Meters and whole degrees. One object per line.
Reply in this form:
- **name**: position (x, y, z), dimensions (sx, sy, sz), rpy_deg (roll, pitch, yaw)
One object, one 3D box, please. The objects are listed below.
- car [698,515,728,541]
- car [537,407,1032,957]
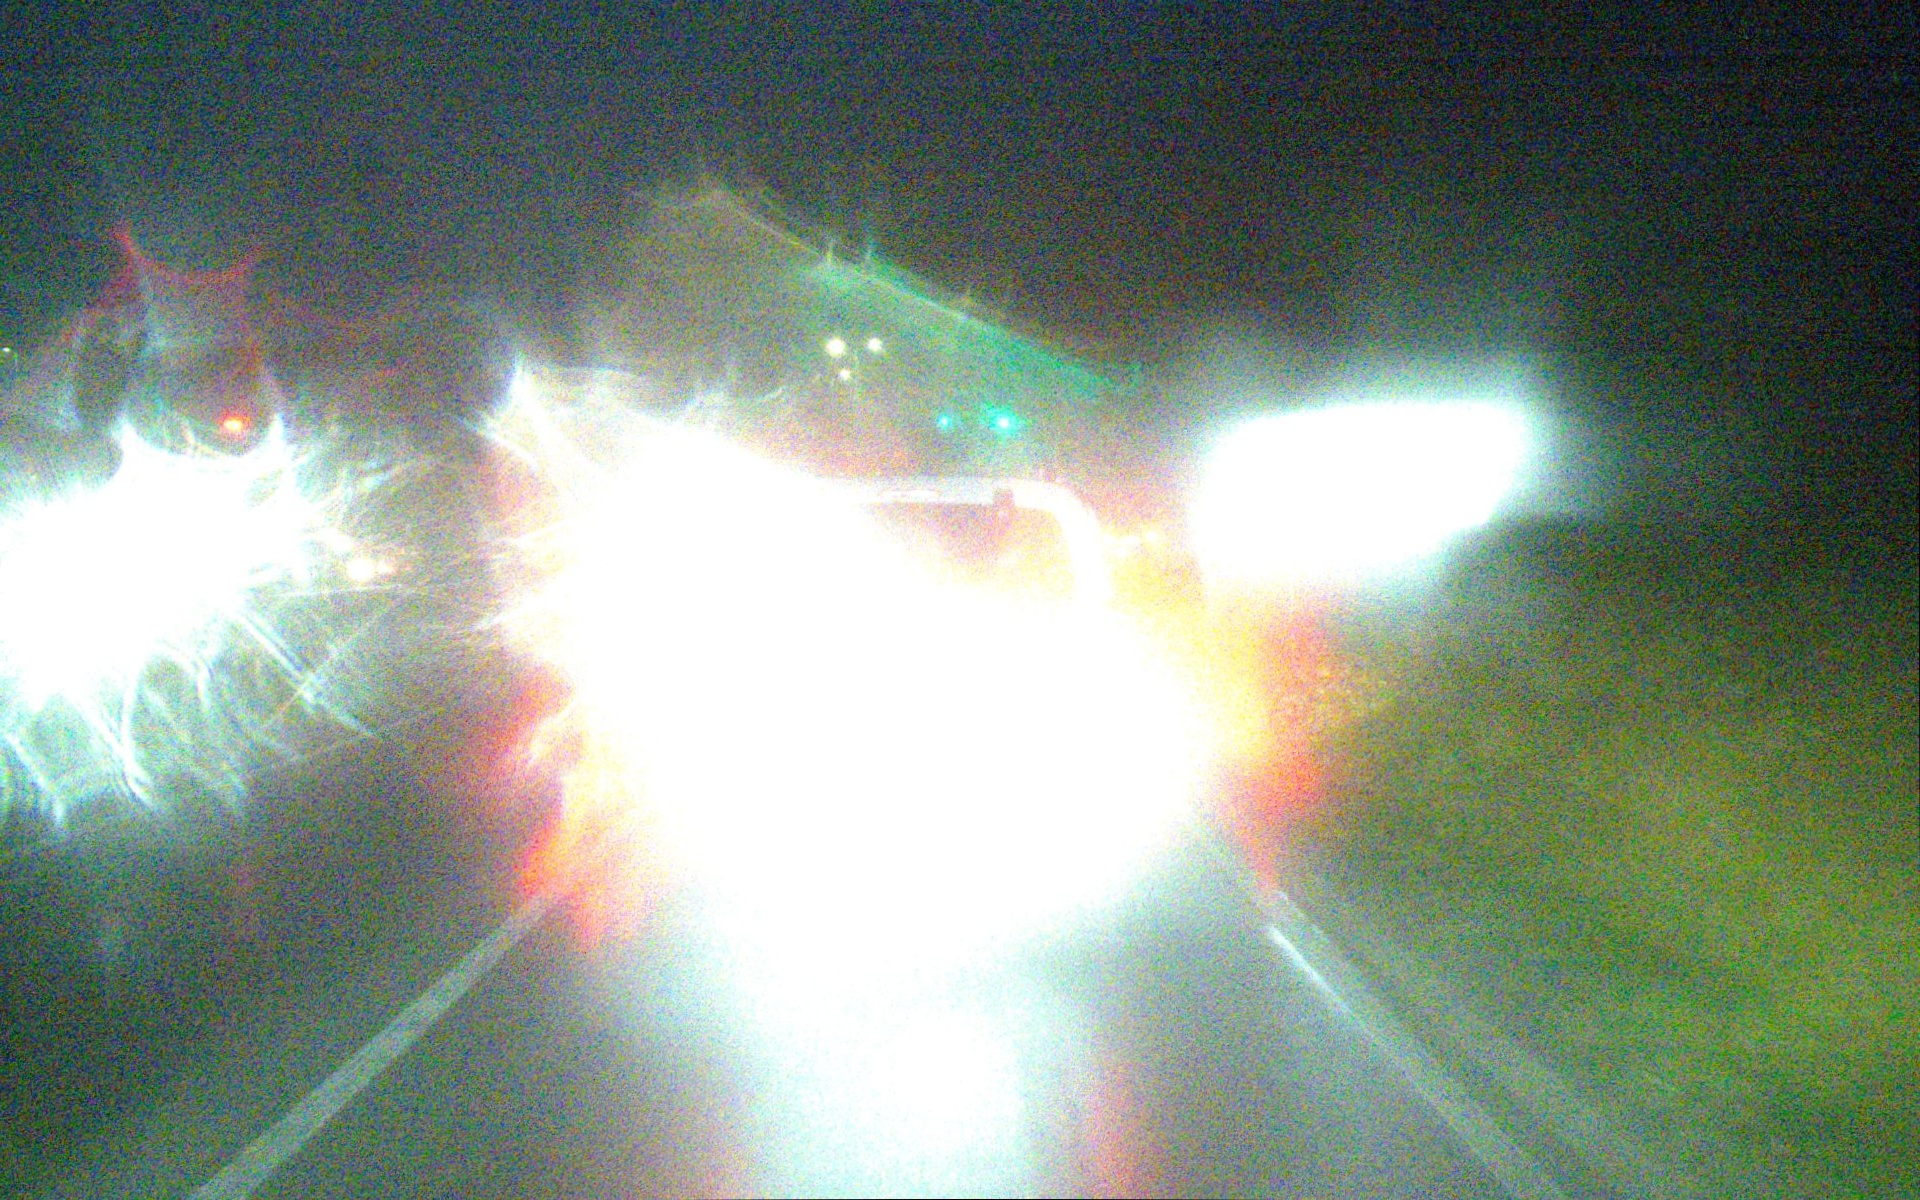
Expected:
- **car**: position (-15.904, -4.645, 221.551), dimensions (1.801, 1.582, 4.031), rpy_deg (-2, 1, -4)
- **car**: position (-0.766, 0.253, 15.489), dimensions (1.791, 2.015, 4.580), rpy_deg (-3, 2, -2)
